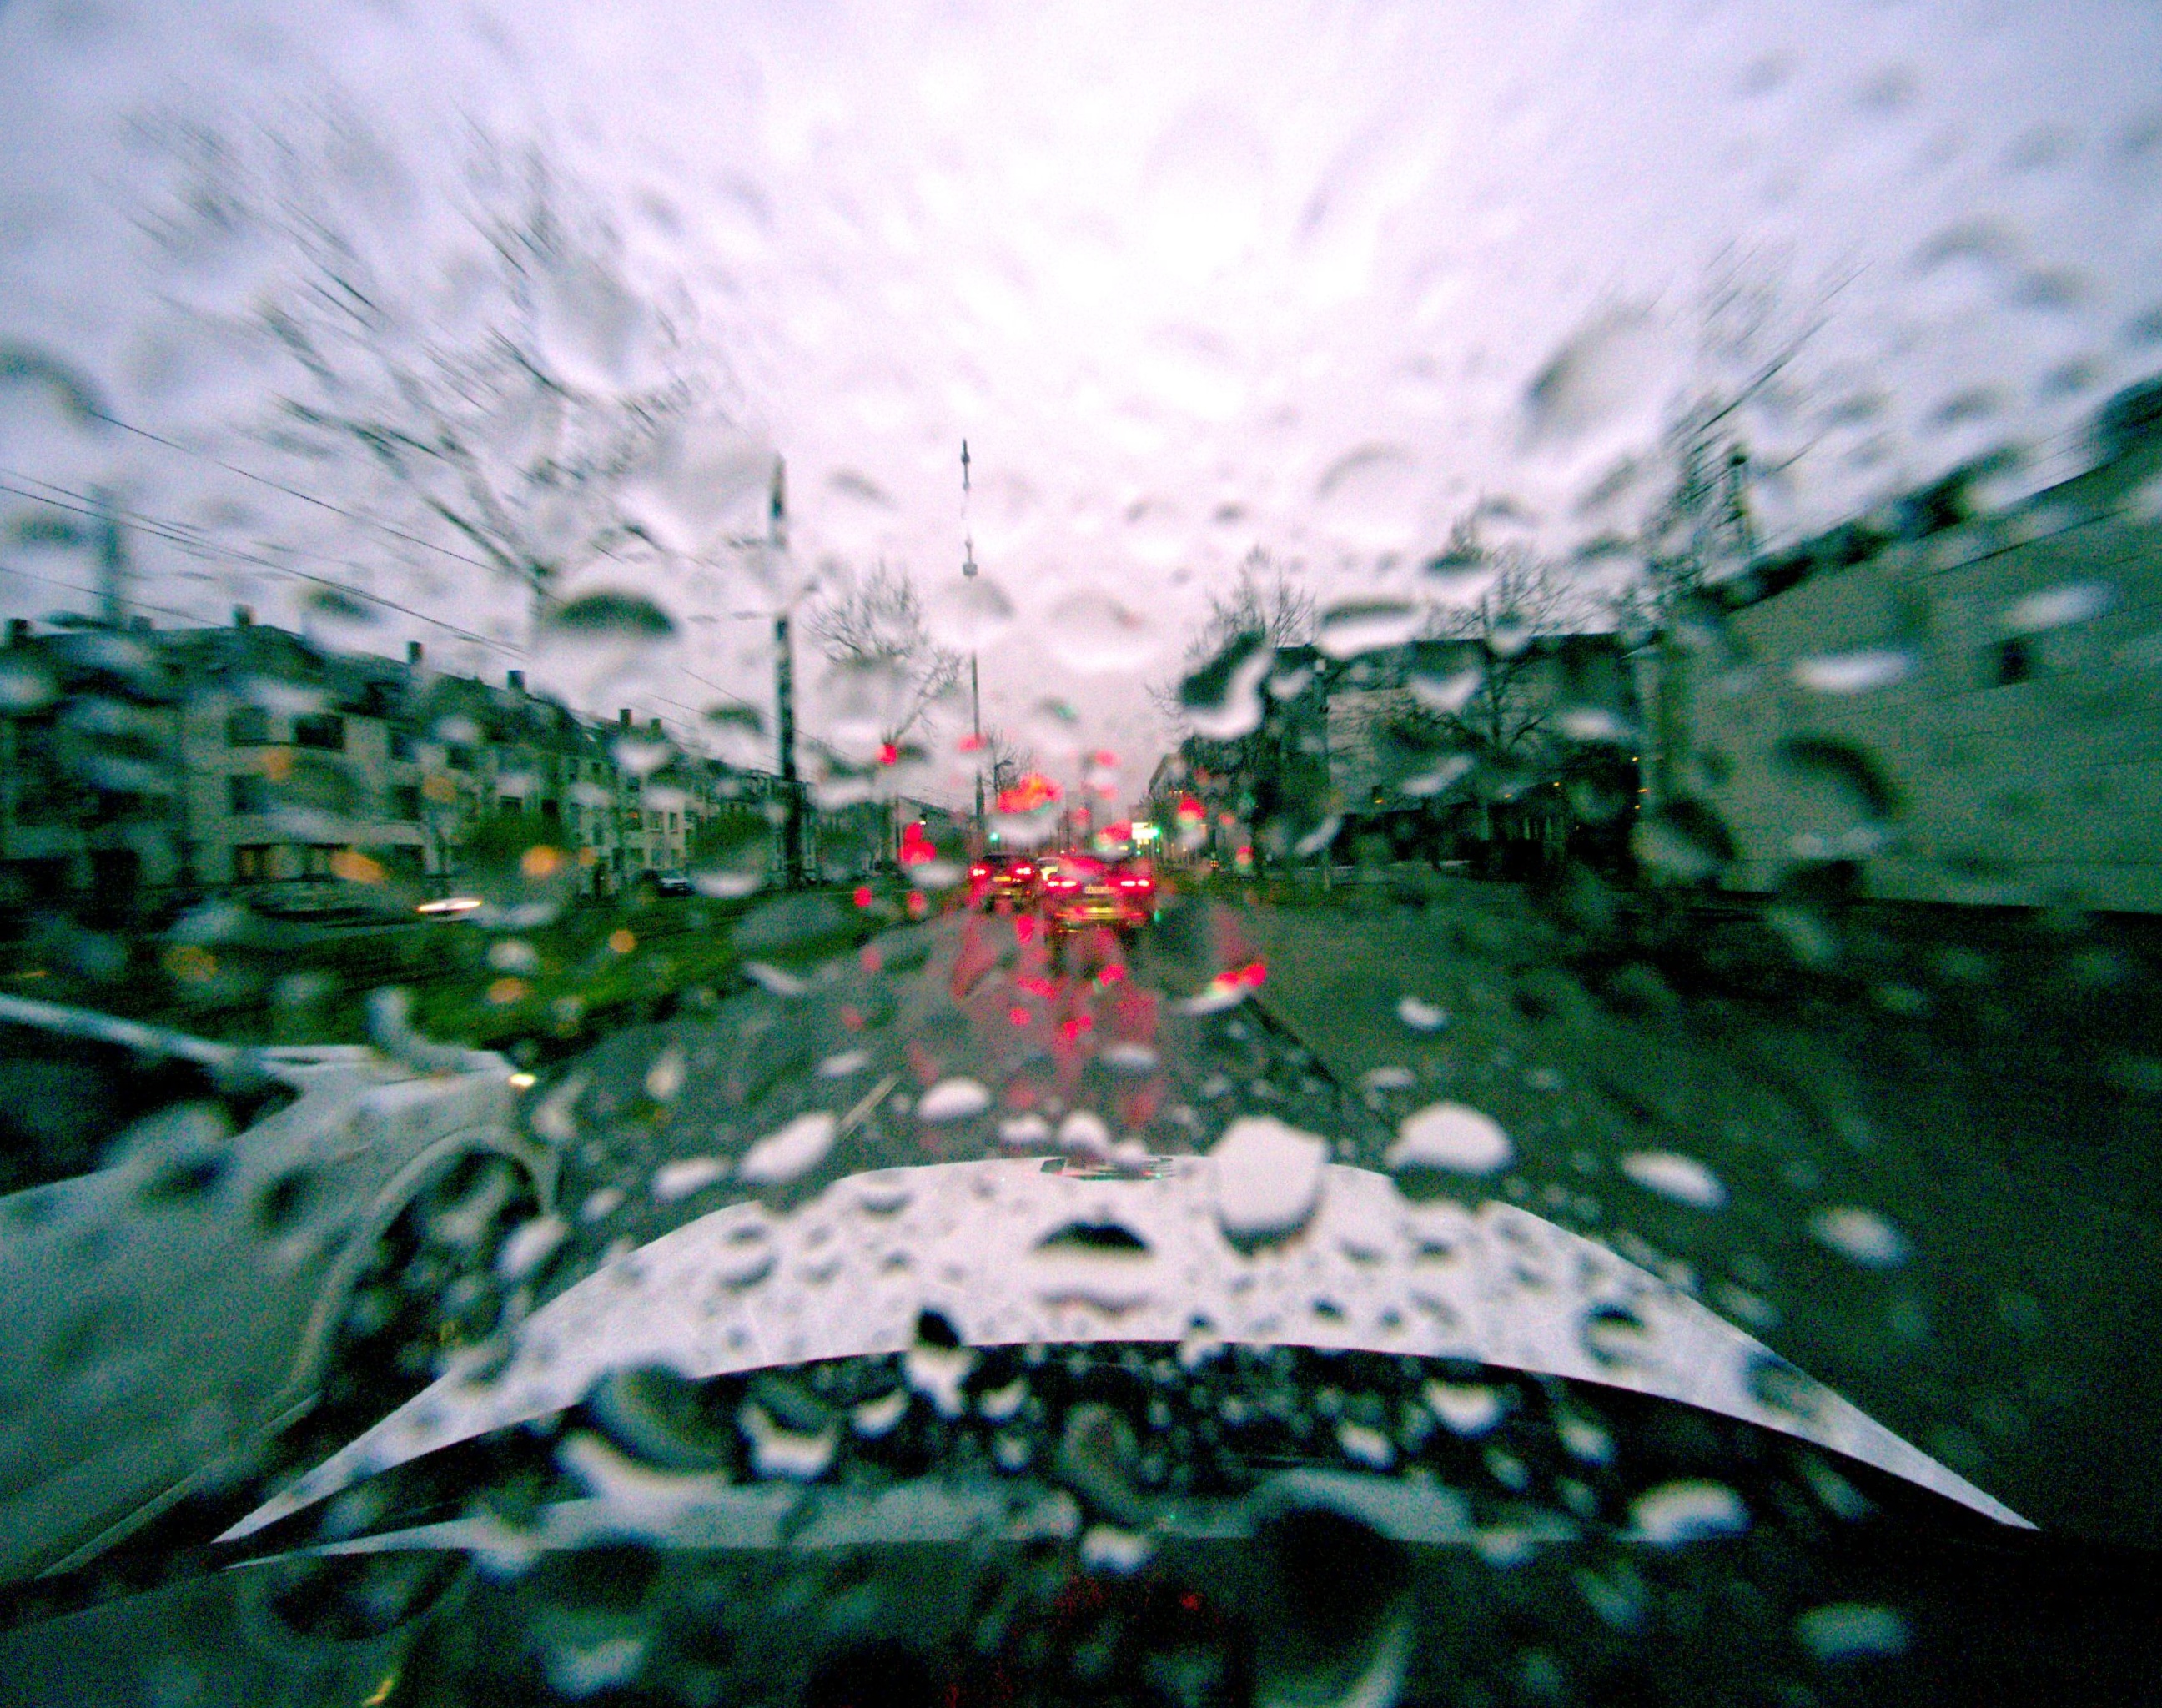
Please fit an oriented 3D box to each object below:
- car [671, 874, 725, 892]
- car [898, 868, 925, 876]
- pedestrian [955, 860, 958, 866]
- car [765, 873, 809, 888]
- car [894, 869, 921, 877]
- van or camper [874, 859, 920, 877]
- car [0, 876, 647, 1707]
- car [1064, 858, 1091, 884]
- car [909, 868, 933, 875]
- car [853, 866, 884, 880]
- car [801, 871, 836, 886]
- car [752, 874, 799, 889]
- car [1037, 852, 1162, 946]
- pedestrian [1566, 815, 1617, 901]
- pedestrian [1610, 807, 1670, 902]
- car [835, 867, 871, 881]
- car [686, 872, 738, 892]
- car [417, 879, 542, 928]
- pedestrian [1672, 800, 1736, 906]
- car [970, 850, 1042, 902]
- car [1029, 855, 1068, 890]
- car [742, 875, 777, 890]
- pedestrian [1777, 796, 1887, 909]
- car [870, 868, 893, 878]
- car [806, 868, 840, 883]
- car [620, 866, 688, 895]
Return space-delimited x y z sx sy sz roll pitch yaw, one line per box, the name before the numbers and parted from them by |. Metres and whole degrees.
car | -25.888 1.948 55.030 3.526 1.141 1.748 0 0 34
car | -24.574 2.625 118.297 3.494 1.200 1.894 -1 -1 33
pedestrian | -25.003 1.815 163.729 0.348 1.184 0.429 0 -1 -39
car | -25.281 2.267 69.996 3.794 1.245 1.749 0 0 37
car | -24.601 2.680 115.552 3.494 1.212 1.759 -1 -1 33
van or camper | -24.998 1.894 110.281 6.792 2.360 2.013 -1 -1 35
car | -2.622 0.818 1.163 1.681 1.474 4.004 -1 0 3
car | -0.218 1.182 57.707 1.655 1.759 3.570 -1 -1 3
car | -23.943 2.623 121.986 3.374 1.147 1.702 -1 -1 33
car | -25.080 2.215 95.943 3.800 1.588 1.753 -1 -1 43
car | -24.906 2.337 77.166 2.899 1.336 1.749 0 0 34
car | -25.180 2.252 67.159 3.772 1.172 1.749 0 0 34
car | 0.347 0.747 14.927 1.986 1.483 3.701 -1 -1 1
pedestrian | 9.863 0.084 15.748 0.667 1.625 0.617 -1 -1 17
pedestrian | 9.719 0.020 14.178 0.667 1.612 0.617 -1 -1 15
car | -25.101 2.188 89.693 4.109 1.541 1.680 -1 -1 37
car | -25.883 1.957 57.156 3.534 1.309 1.697 0 0 34
car | -21.264 1.713 28.981 1.539 1.504 3.786 -1 0 2
pedestrian | 10.731 -0.020 14.046 0.667 1.778 0.617 -1 -1 15
car | -2.190 0.633 24.776 1.812 1.450 3.999 -1 0 0
car | -1.566 0.899 40.482 1.683 1.635 3.474 -1 0 1
car | -25.309 2.228 64.093 2.361 1.048 1.446 0 1 34
pedestrian | 11.587 -0.015 12.602 0.665 1.655 0.993 -3 -1 -4
car | -25.134 2.336 102.504 2.851 1.204 1.397 -1 -1 43
car | -25.372 2.093 80.017 3.342 1.422 1.680 -1 -1 40
car | -26.691 1.631 50.861 4.598 1.723 1.845 0 0 35
